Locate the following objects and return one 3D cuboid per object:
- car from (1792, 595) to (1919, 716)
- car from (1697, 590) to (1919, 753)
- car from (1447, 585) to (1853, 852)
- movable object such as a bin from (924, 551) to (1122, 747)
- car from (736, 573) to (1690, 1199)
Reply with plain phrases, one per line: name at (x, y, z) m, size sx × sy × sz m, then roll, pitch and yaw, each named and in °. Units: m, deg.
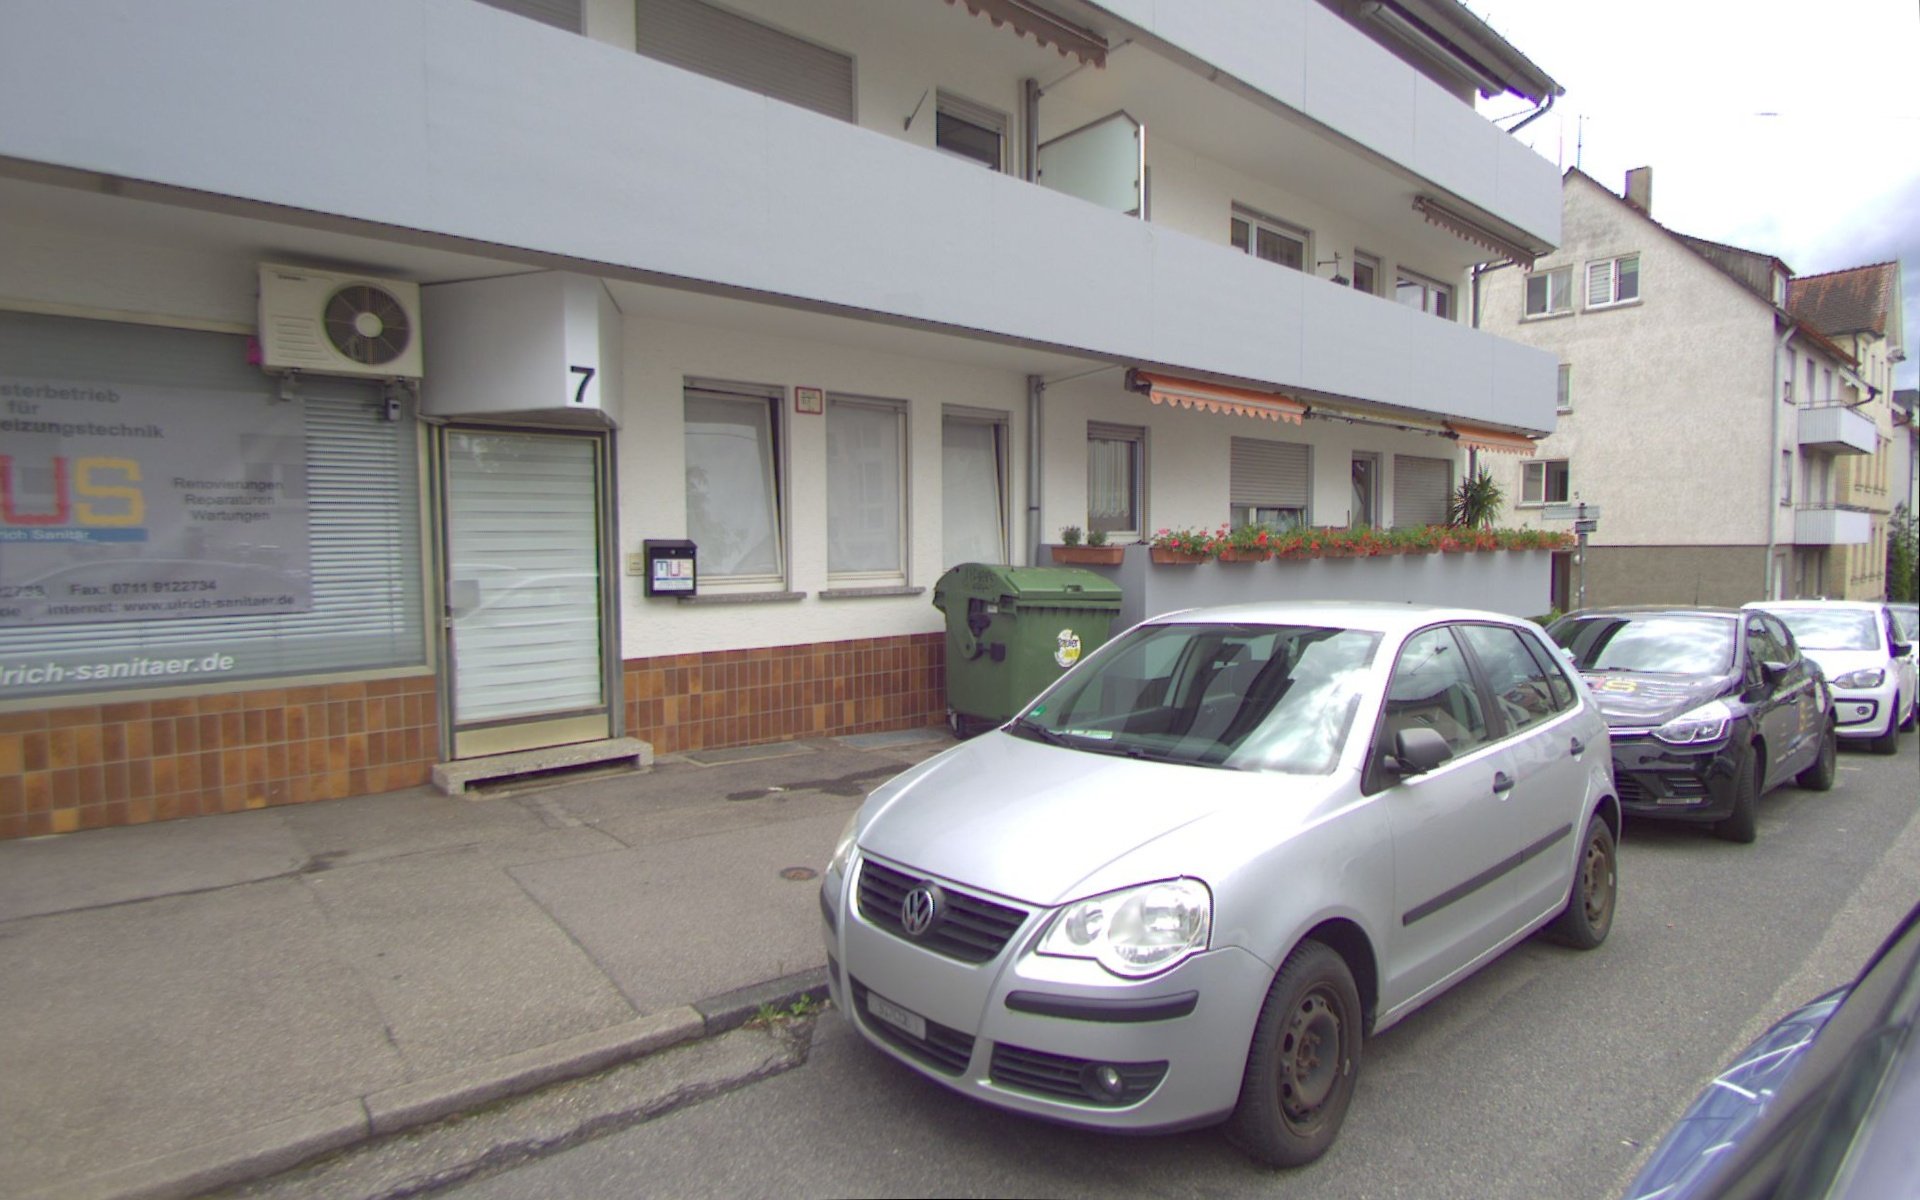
car at (12.525, 0.659, 13.582) m, size 3.536 × 1.423 × 1.583 m, roll -1°, pitch 1°, yaw -42°
car at (9.363, 0.640, 10.938) m, size 3.256 × 1.473 × 1.611 m, roll -1°, pitch 1°, yaw -42°
car at (5.223, 0.632, 7.471) m, size 3.793 × 1.473 × 1.611 m, roll -1°, pitch 1°, yaw -42°
movable object such as a bin at (0.519, 0.354, 8.342) m, size 1.238 × 1.455 × 1.082 m, roll 0°, pitch 0°, yaw -41°
car at (1.394, 0.654, 4.076) m, size 4.259 × 1.473 × 1.612 m, roll -1°, pitch 1°, yaw -41°
